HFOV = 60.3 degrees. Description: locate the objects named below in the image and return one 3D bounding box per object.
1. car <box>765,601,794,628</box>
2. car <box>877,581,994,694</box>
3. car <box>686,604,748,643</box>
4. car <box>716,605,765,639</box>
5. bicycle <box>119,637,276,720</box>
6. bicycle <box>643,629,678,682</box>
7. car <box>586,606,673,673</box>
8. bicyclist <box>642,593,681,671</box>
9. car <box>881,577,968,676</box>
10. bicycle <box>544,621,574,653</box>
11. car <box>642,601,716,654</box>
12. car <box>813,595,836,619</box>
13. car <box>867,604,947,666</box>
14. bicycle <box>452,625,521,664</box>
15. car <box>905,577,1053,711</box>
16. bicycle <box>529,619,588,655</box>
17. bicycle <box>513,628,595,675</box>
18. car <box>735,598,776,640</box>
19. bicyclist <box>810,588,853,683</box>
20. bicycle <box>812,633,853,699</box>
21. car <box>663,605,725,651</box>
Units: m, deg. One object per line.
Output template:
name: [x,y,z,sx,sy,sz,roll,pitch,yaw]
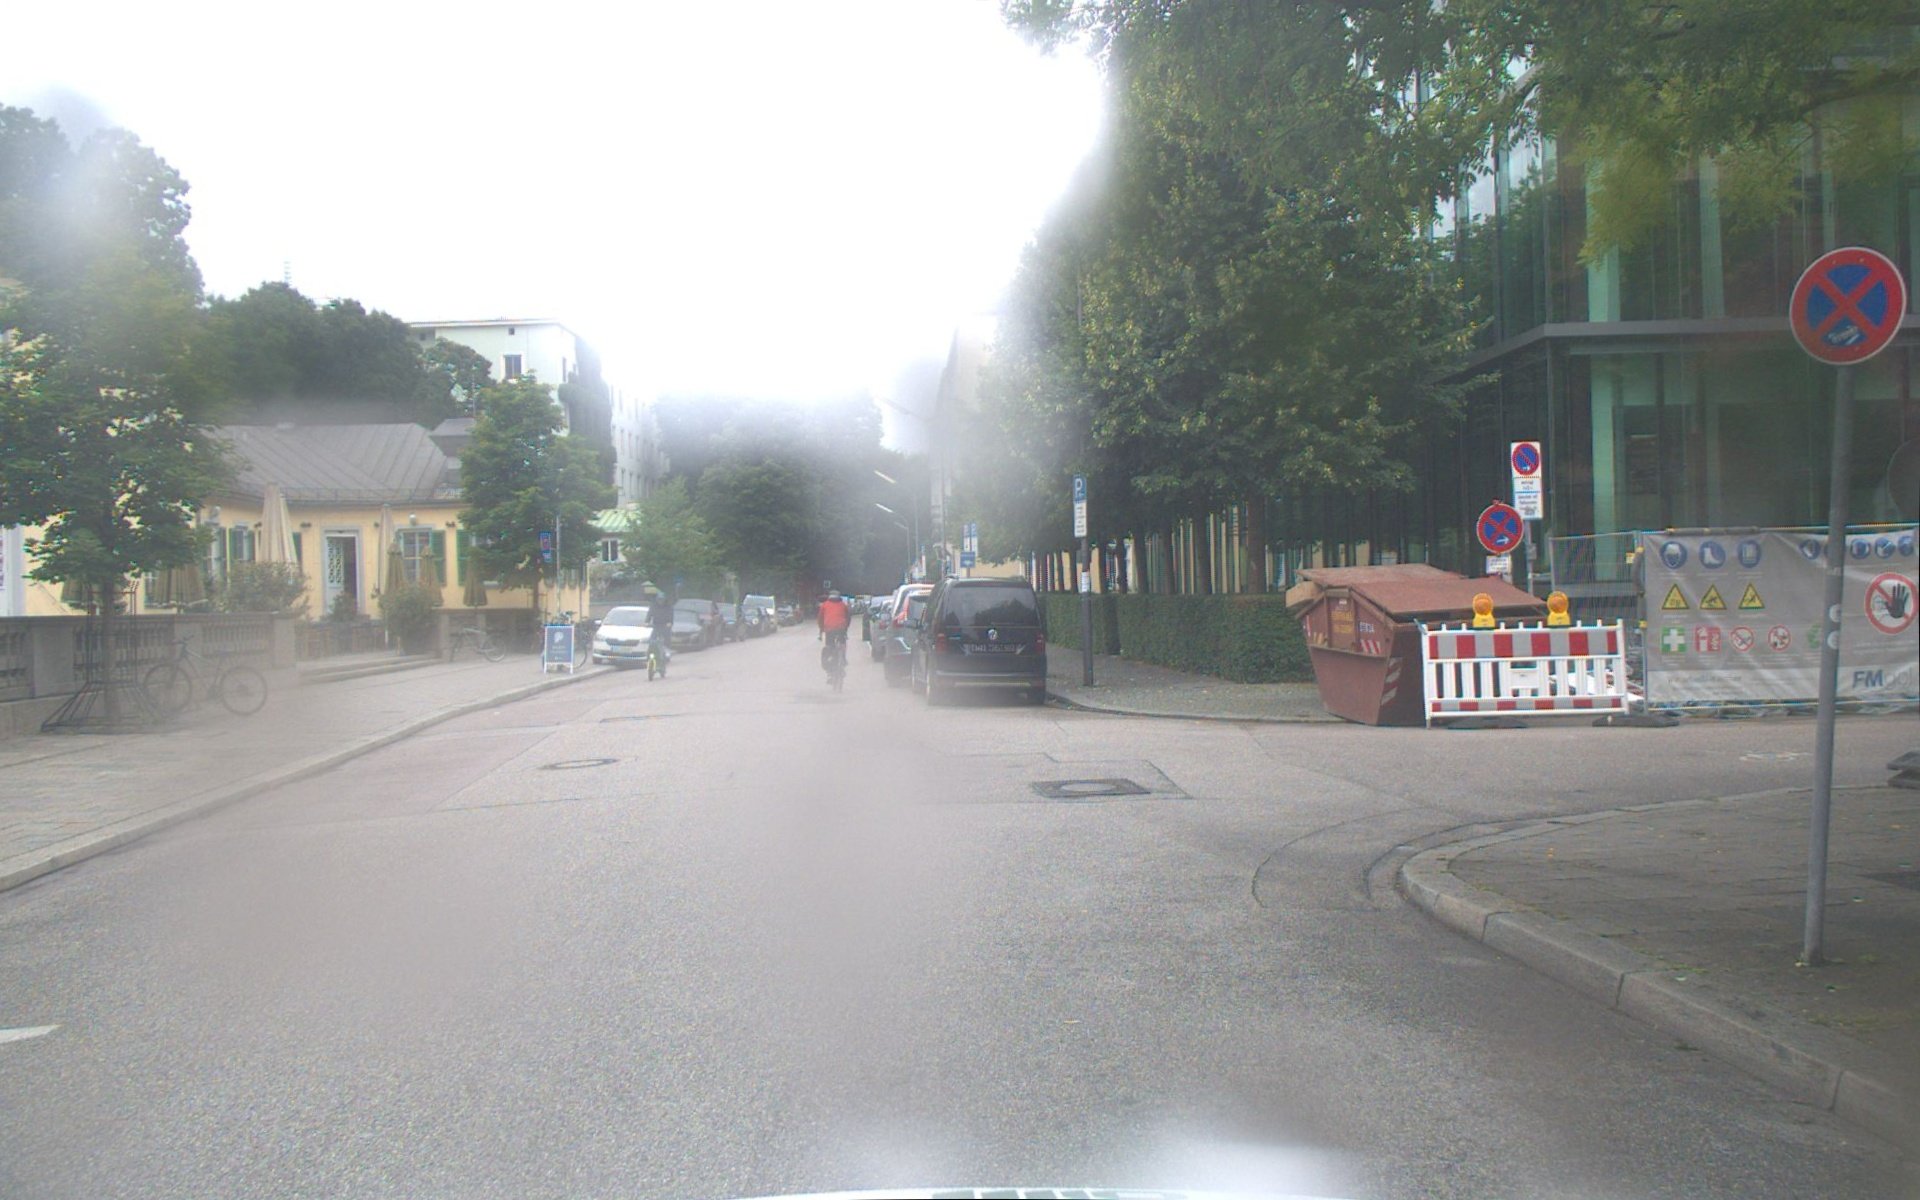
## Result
car: [-12.000,0.929,109.929,1.775,1.712,3.996,-1,0,-5]
car: [-0.523,0.618,29.893,1.826,1.825,4.506,-1,0,-4]
car: [-9.916,0.941,67.705,1.953,1.512,3.999,1,0,-1]
car: [-10.396,1.025,78.589,1.954,1.512,3.998,-1,0,-2]
bicycle: [-10.715,1.098,23.279,1.892,1.118,0.614,1,0,-4]
bicycle: [-6.275,1.148,34.722,0.610,1.022,2.136,-1,0,-8]
car: [-8.558,0.996,43.073,1.699,1.609,3.784,2,0,-4]
bicyclist: [-6.275,0.659,34.778,0.729,1.603,0.975,-1,0,-8]
car: [-0.826,0.532,36.100,1.715,1.977,4.224,-1,0,-3]
bicycle: [-13.161,1.226,54.295,0.609,1.022,1.618,-1,-1,-1]
car: [-9.394,0.884,55.638,1.954,1.677,4.651,-1,0,-4]
car: [-12.089,0.605,147.850,1.954,2.135,3.996,1,0,-5]
car: [-1.384,0.835,41.597,1.826,1.465,4.251,0,0,-5]
bicycle: [-12.157,1.137,42.483,1.598,0.942,0.644,-1,-2,-32]
car: [0.199,0.609,25.128,1.727,1.855,4.133,0,0,-7]
bicycle: [-11.965,1.088,49.320,1.600,1.022,0.616,-1,-2,-35]
bicycle: [-9.407,1.178,38.426,0.609,1.022,2.138,1,0,26]
car: [-10.749,0.991,87.181,1.954,2.116,3.996,-1,0,-5]
bicyclist: [-2.104,0.586,27.181,0.658,1.524,1.094,-1,-2,-4]
bicycle: [-2.081,1.066,27.105,0.609,1.022,2.138,-2,-1,-4]
car: [-9.738,1.026,60.712,1.955,1.631,3.995,-1,-1,-5]
